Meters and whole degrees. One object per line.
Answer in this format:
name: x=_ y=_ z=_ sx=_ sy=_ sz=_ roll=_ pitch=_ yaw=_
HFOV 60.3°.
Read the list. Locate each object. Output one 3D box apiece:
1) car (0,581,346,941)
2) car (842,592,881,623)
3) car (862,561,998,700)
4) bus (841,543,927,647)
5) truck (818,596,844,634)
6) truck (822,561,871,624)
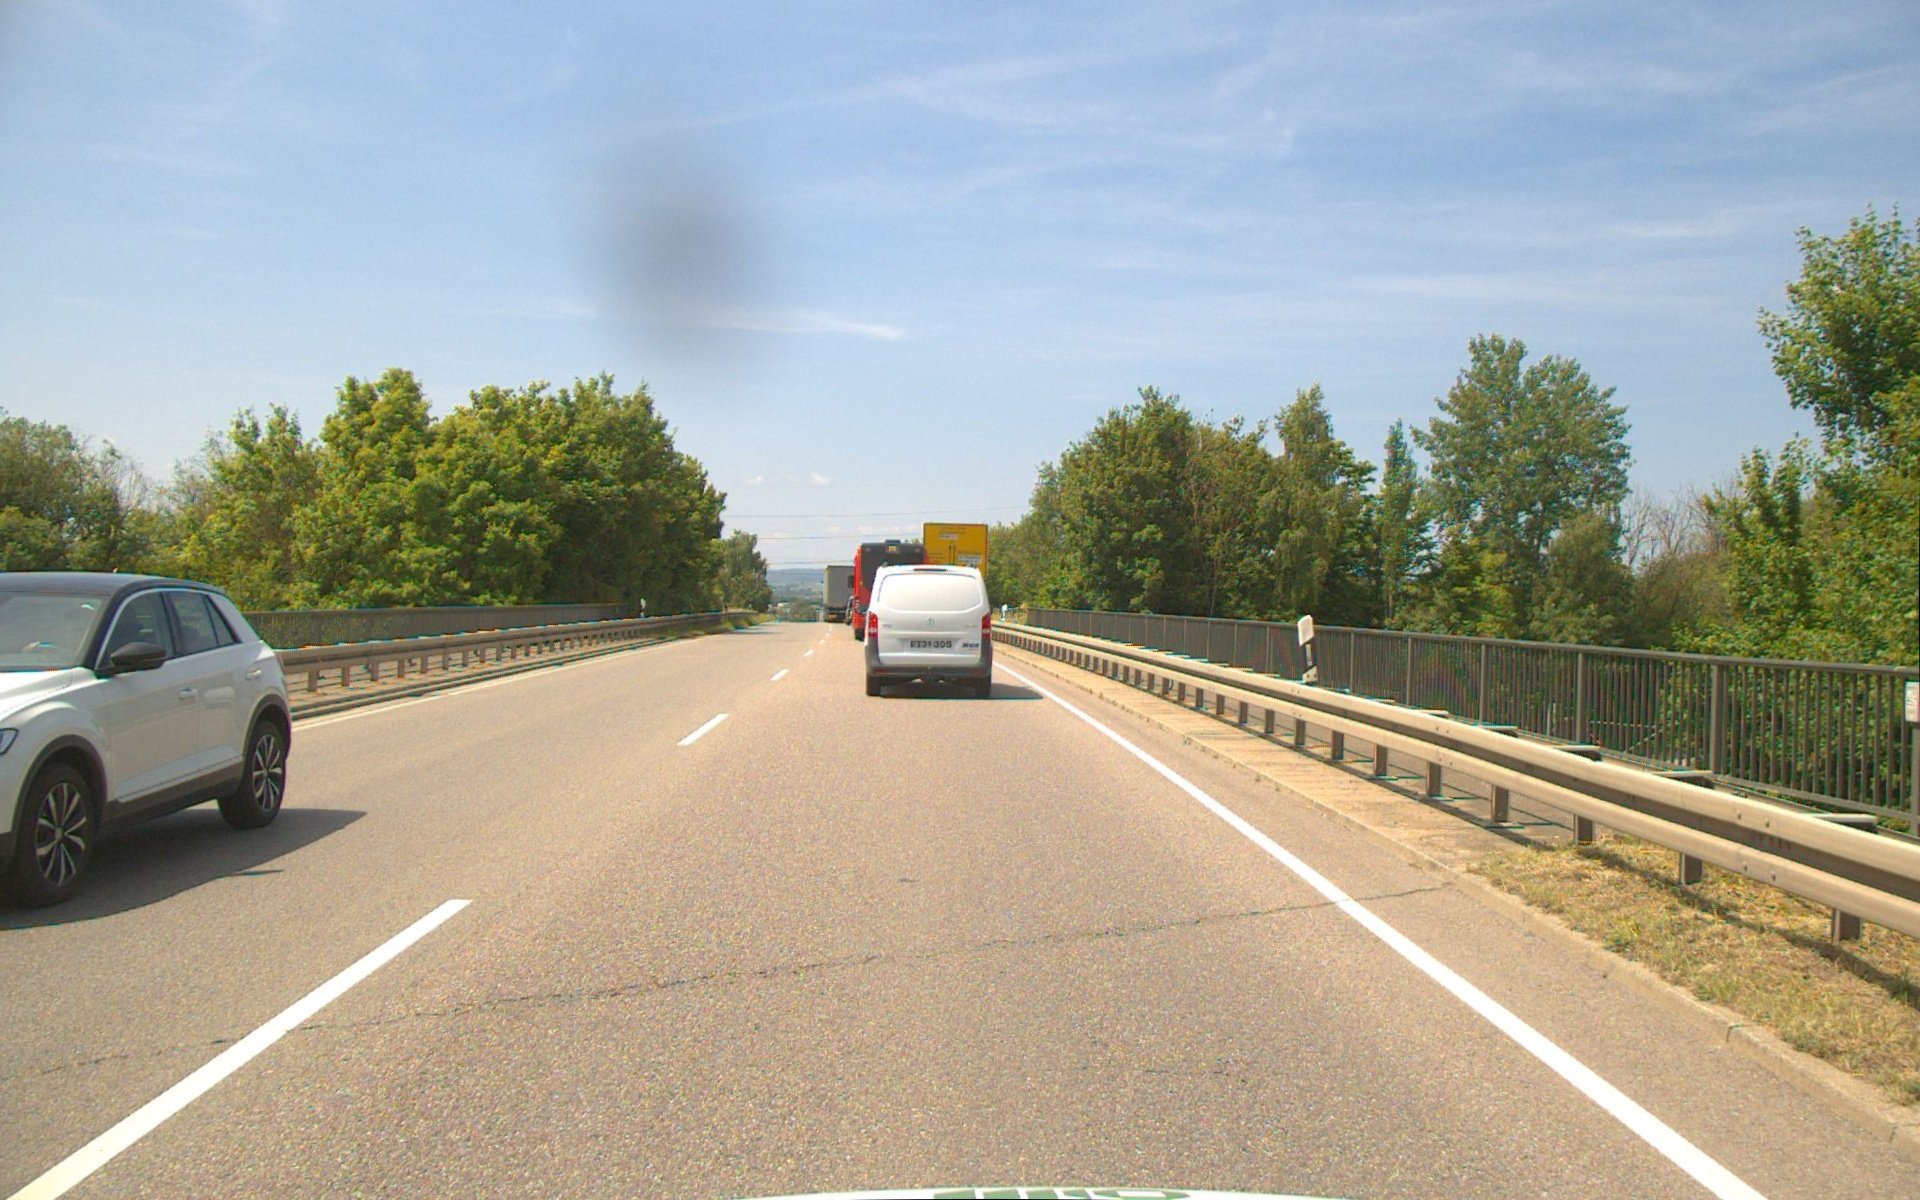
car: x=-5.113 y=0.672 z=9.273 sx=1.842 sy=1.538 sz=4.541 roll=0 pitch=0 yaw=-3
car: x=-6.089 y=0.470 z=101.550 sx=1.957 sy=1.847 sz=3.991 roll=1 pitch=0 yaw=-9
car: x=-0.497 y=0.410 z=25.198 sx=1.885 sy=1.922 sz=3.998 roll=1 pitch=0 yaw=-2
bus: x=-2.975 y=-0.215 z=60.945 sx=2.693 sy=3.412 sz=13.208 roll=0 pitch=0 yaw=-5
truck: x=-16.436 y=1.817 z=210.065 sx=2.976 sy=4.532 sz=14.886 roll=0 pitch=0 yaw=-5
truck: x=-8.564 y=-0.578 z=124.527 sx=3.419 sy=4.500 sz=14.890 roll=0 pitch=0 yaw=-4
